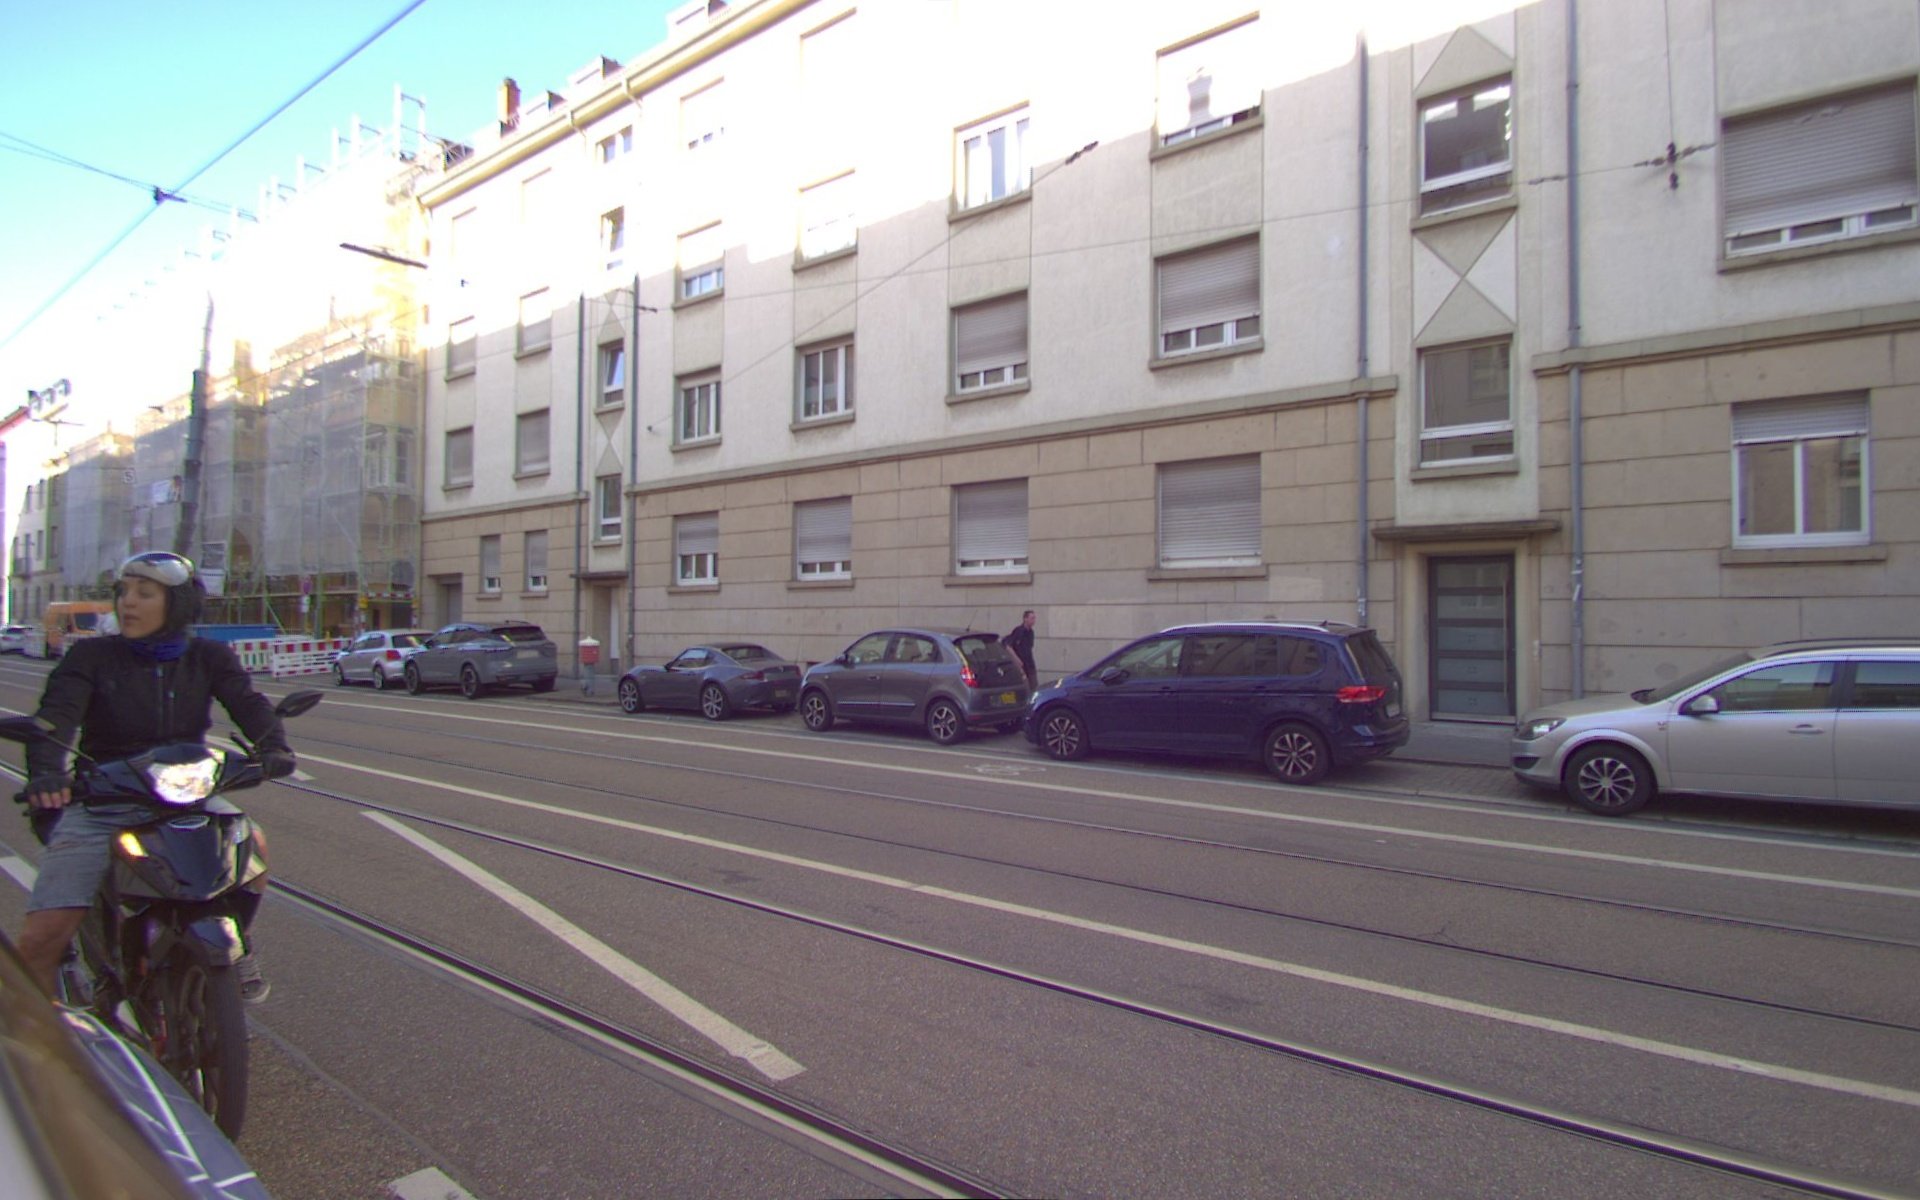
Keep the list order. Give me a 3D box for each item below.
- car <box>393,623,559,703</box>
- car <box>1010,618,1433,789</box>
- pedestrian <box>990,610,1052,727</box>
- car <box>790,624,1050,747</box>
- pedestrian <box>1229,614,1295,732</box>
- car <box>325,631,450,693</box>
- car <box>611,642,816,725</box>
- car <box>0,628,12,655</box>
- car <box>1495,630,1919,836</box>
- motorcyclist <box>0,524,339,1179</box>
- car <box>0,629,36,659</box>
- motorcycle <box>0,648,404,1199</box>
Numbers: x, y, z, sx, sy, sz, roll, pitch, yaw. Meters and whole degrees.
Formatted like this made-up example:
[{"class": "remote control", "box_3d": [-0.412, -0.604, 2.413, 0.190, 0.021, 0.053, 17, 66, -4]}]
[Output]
[{"class": "car", "box_3d": [-10.894, 1.339, 22.662, 4.201, 1.611, 1.675, -1, -2, 38]}, {"class": "car", "box_3d": [2.882, 1.037, 11.678, 4.383, 1.611, 1.779, -1, -1, 38]}, {"class": "pedestrian", "box_3d": [0.924, 1.022, 15.389, 0.729, 1.722, 0.597, -2, -3, 39]}, {"class": "car", "box_3d": [-0.639, 1.138, 14.657, 3.535, 1.539, 1.659, -1, -2, 38]}, {"class": "pedestrian", "box_3d": [4.101, 0.972, 13.731, 0.693, 1.553, 0.563, -2, -3, 39]}, {"class": "car", "box_3d": [-14.395, 1.504, 25.398, 3.506, 1.423, 1.524, -1, -2, 38]}, {"class": "car", "box_3d": [-4.325, 1.371, 17.502, 3.681, 1.244, 1.502, -1, -1, 38]}, {"class": "car", "box_3d": [-54.594, 2.334, 56.817, 3.964, 1.498, 1.662, -2, -1, 42]}, {"class": "car", "box_3d": [7.116, 1.007, 8.504, 4.383, 1.489, 1.779, -1, -1, 38]}, {"class": "motorcyclist", "box_3d": [-2.552, 0.658, 3.162, 0.899, 1.668, 0.781, -2, -3, 41]}, {"class": "car", "box_3d": [-50.078, 2.279, 53.341, 3.964, 1.498, 1.662, -2, -1, 42]}, {"class": "motorcycle", "box_3d": [-2.649, 0.820, 3.239, 2.272, 1.302, 0.781, -2, -3, 41]}]
